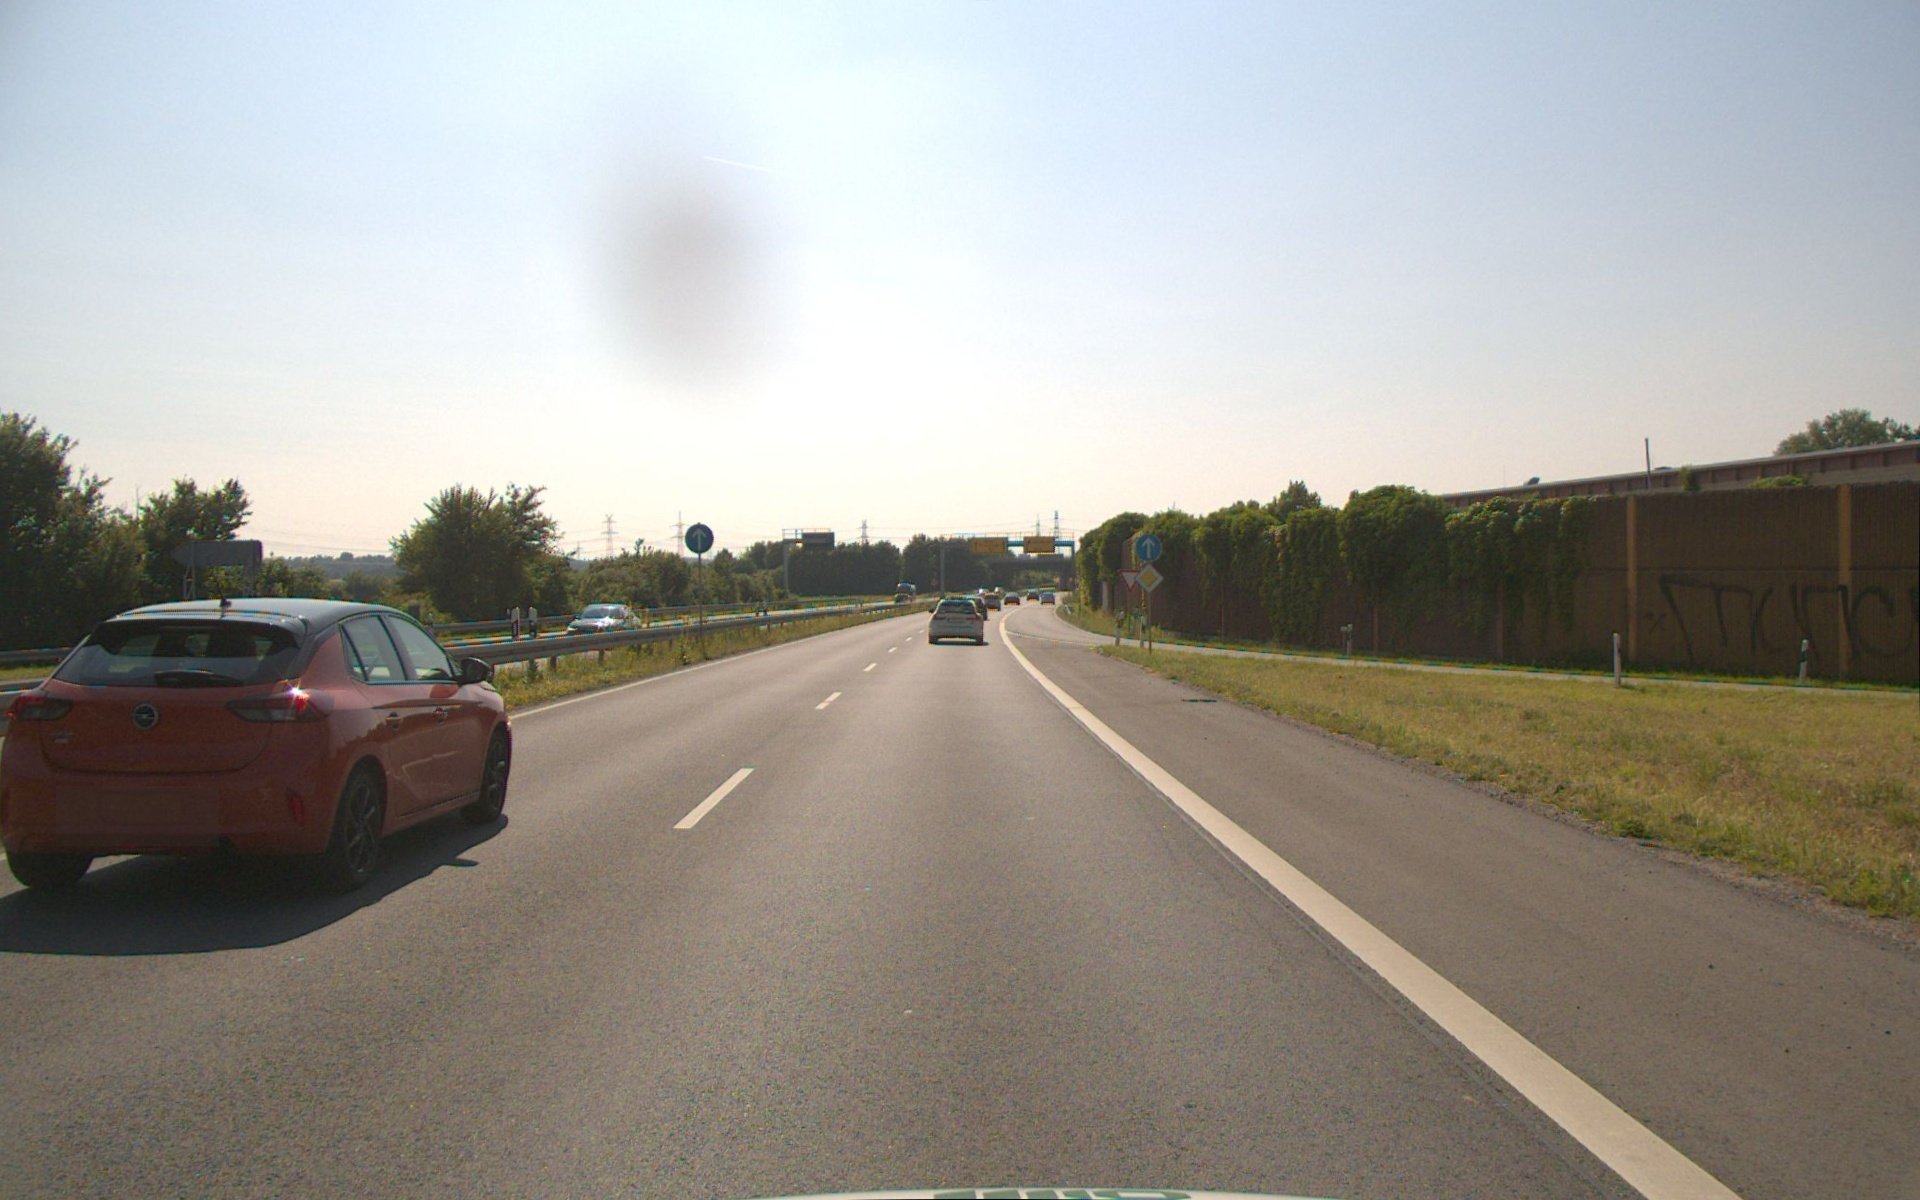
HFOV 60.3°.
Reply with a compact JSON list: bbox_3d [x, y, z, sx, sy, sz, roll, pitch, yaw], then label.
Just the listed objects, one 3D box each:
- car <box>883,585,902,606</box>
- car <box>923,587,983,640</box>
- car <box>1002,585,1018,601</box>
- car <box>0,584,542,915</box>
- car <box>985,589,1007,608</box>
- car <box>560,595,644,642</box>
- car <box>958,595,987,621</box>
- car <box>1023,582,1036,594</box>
[{"bbox_3d":[-8.526,-0.567,209.866,2.095,2.585,5.809,0,0,0],"label":"car"},{"bbox_3d":[-0.282,0.428,56.278,1.919,1.629,4.106,1,1,-2],"label":"car"},{"bbox_3d":[6.088,-0.845,201.143,1.803,1.834,4.001,0,0,2],"label":"car"},{"bbox_3d":[-3.789,0.681,9.636,1.674,1.462,4.410,-1,0,-1],"label":"car"},{"bbox_3d":[3.318,-0.133,151.913,1.732,1.767,3.634,0,0,4],"label":"car"},{"bbox_3d":[-11.764,0.593,54.591,1.763,1.445,4.675,1,0,0],"label":"car"},{"bbox_3d":[0.795,0.475,104.628,1.756,1.570,3.672,0,0,1],"label":"car"},{"bbox_3d":[10.502,-1.775,248.342,1.802,1.728,4.002,0,0,4],"label":"car"}]
